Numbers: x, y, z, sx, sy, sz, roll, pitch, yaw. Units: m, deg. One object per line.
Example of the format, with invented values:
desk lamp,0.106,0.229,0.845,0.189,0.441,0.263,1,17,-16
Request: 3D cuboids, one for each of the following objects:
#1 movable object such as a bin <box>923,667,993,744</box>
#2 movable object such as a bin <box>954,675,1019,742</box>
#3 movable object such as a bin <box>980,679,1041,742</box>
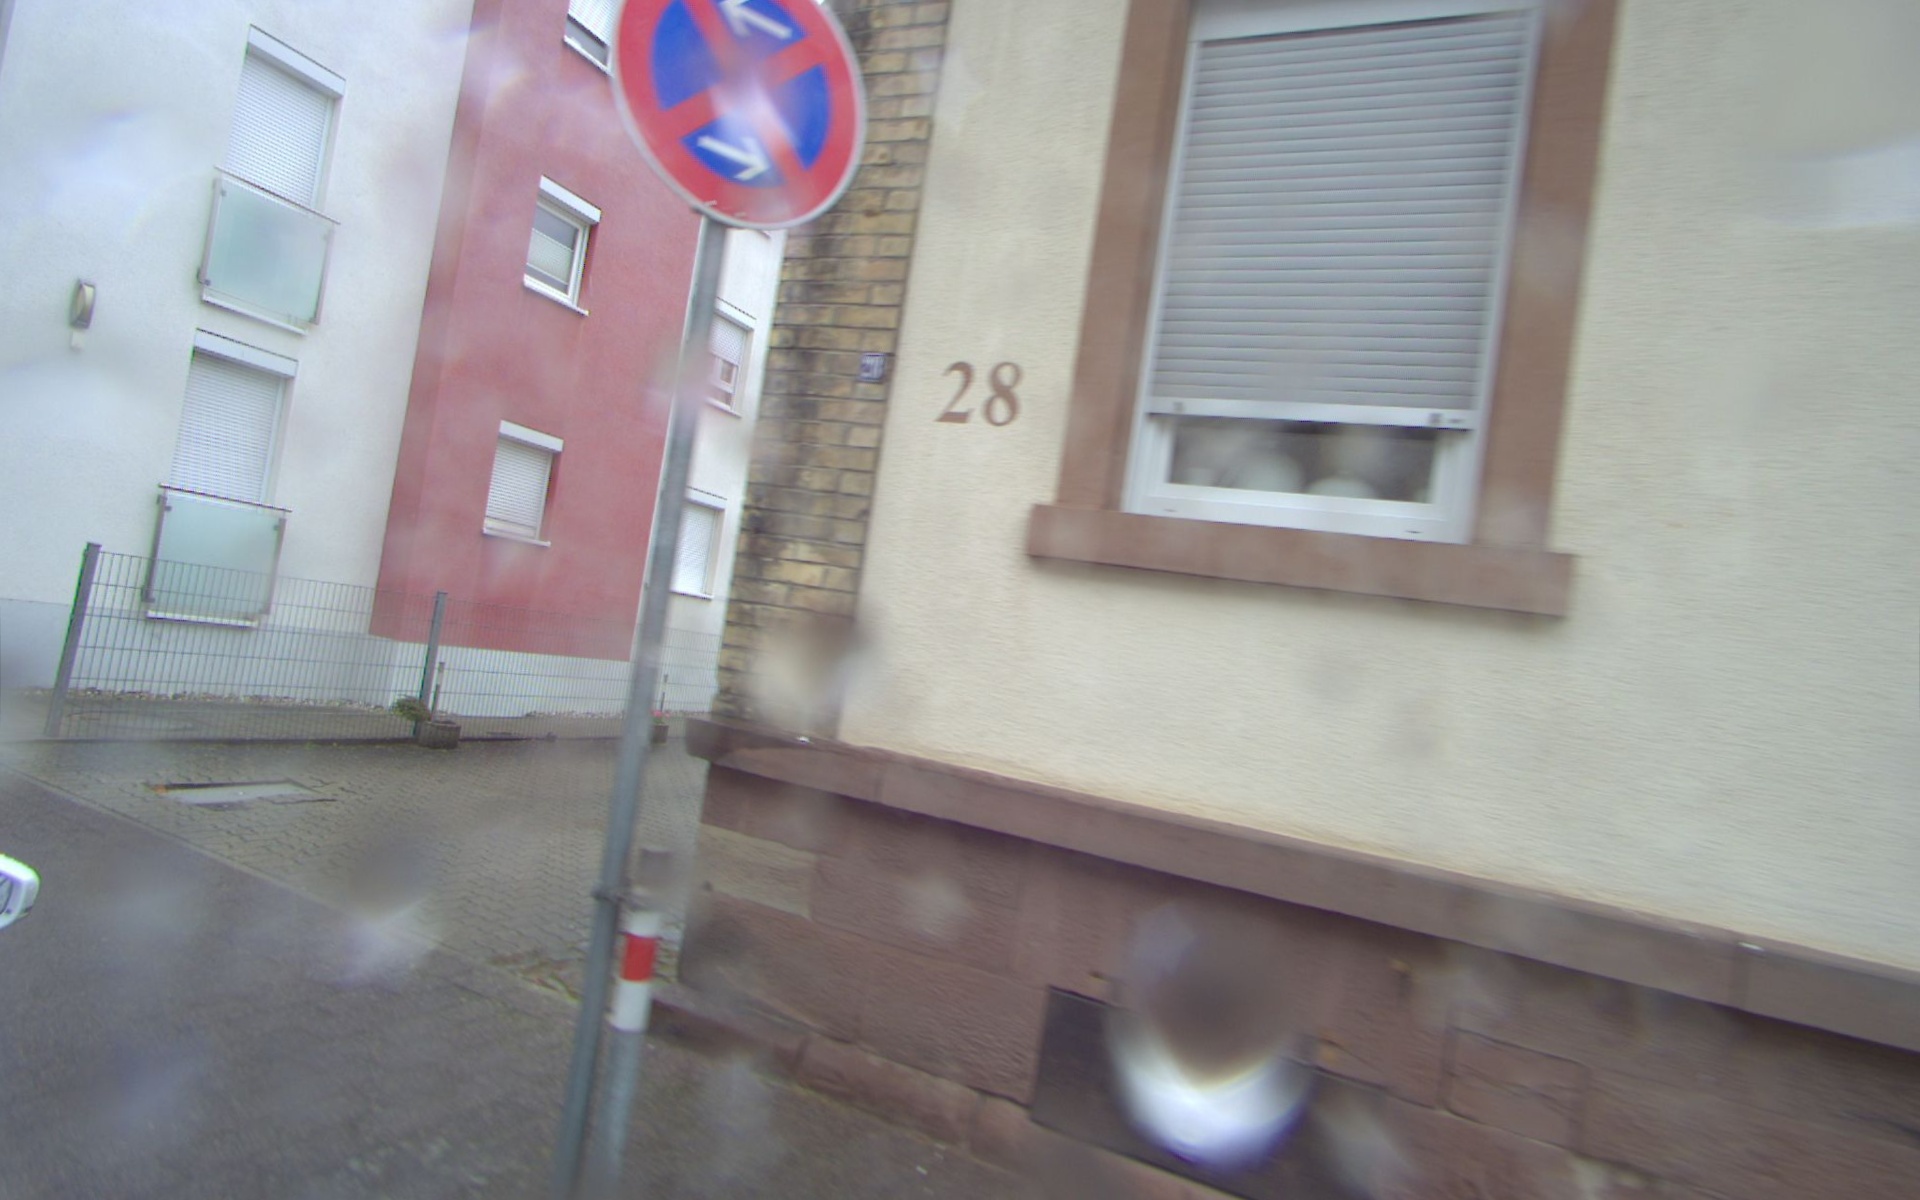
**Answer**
movable object such as a bin,-0.029,1.779,16.914,0.789,1.146,0.729,7,-3,27
movable object such as a bin,0.482,1.935,17.893,0.789,1.049,0.729,7,-4,27
movable object such as a bin,0.968,2.105,19.107,0.789,1.049,0.729,7,-4,27
